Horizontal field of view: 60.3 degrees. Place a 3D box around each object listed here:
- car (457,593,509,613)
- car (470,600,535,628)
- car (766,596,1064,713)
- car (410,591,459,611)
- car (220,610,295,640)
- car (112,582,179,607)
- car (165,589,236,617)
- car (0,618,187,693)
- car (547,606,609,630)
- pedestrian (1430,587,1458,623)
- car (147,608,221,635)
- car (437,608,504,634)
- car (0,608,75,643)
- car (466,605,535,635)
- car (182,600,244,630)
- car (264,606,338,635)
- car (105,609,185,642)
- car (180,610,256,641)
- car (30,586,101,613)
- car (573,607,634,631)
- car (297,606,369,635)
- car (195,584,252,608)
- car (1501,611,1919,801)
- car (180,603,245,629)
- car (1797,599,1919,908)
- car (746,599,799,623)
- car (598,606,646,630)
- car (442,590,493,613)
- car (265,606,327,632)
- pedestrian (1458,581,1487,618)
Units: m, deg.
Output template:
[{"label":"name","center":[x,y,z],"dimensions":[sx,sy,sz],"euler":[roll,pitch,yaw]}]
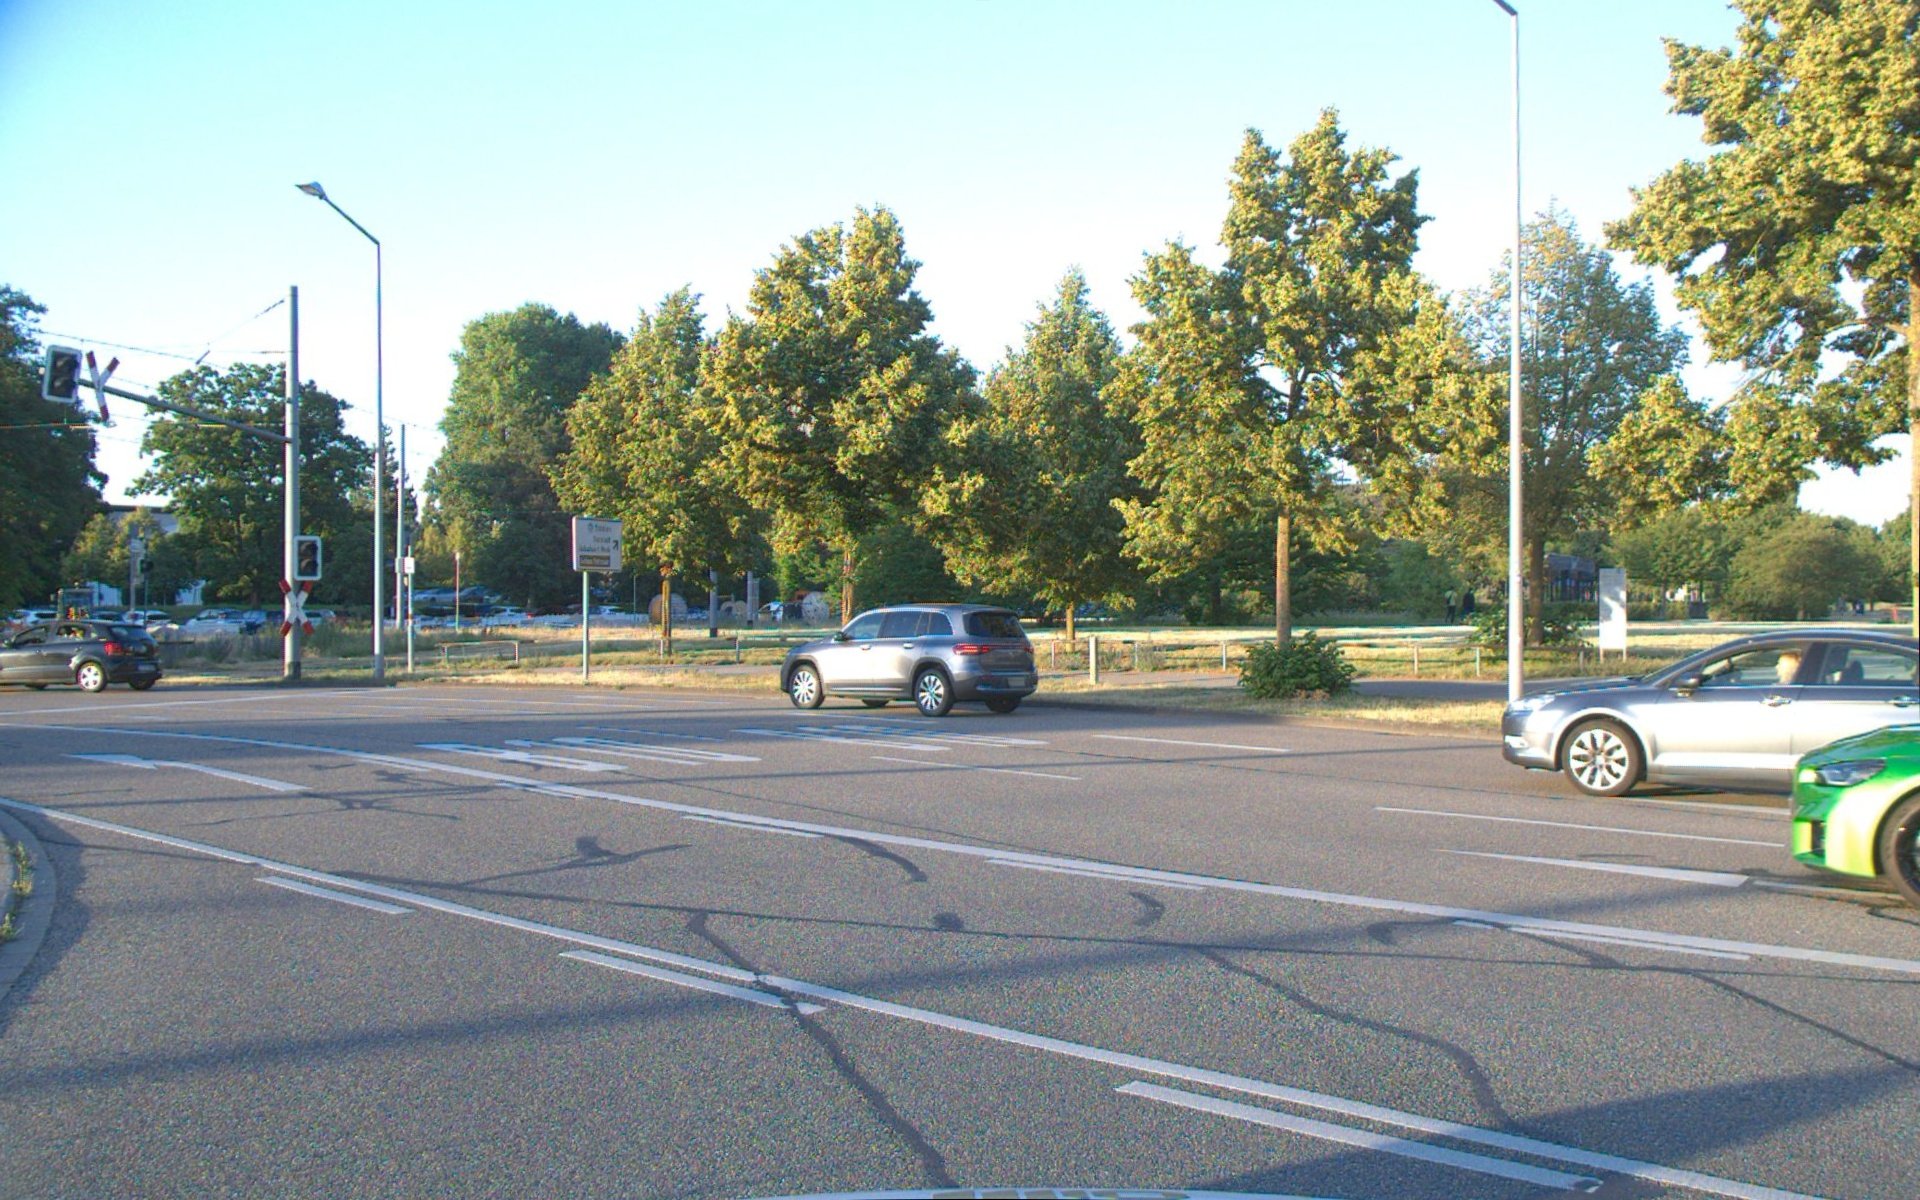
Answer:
[{"label":"car","center":[-41.695,0.283,144.709],"dimensions":[3.902,1.736,2.001],"euler":[0,0,6]},{"label":"car","center":[-34.597,1.072,125.248],"dimensions":[4.499,2.049,1.996],"euler":[0,0,-9]},{"label":"car","center":[-0.751,0.783,25.919],"dimensions":[4.438,1.666,1.991],"euler":[0,0,38]},{"label":"car","center":[-47.958,0.100,151.047],"dimensions":[1.959,1.847,3.987],"euler":[0,0,34]},{"label":"car","center":[-39.089,1.384,92.029],"dimensions":[3.915,1.632,1.995],"euler":[0,0,32]},{"label":"car","center":[-67.123,-0.428,136.321],"dimensions":[1.958,2.049,4.585],"euler":[0,0,33]},{"label":"car","center":[-56.651,0.225,123.473],"dimensions":[1.956,2.049,4.590],"euler":[0,0,29]},{"label":"car","center":[-17.936,1.116,33.390],"dimensions":[3.902,1.377,1.696],"euler":[-1,2,9]},{"label":"car","center":[-26.272,1.225,113.661],"dimensions":[3.915,1.632,1.995],"euler":[0,0,32]},{"label":"pedestrian","center":[22.051,0.233,75.351],"dimensions":[1.047,1.646,0.911],"euler":[0,0,2]},{"label":"car","center":[-50.232,1.357,107.067],"dimensions":[1.863,1.691,3.987],"euler":[0,0,34]},{"label":"car","center":[-30.978,1.312,104.671],"dimensions":[3.915,1.632,1.995],"euler":[0,0,32]},{"label":"car","center":[-45.624,1.227,81.418],"dimensions":[3.915,1.632,1.995],"euler":[0,0,32]},{"label":"car","center":[-32.527,1.429,117.141],"dimensions":[4.499,2.049,1.996],"euler":[0,0,-9]},{"label":"car","center":[-52.269,1.026,115.761],"dimensions":[3.939,2.049,1.983],"euler":[0,0,-27]},{"label":"car","center":[-37.389,1.156,93.855],"dimensions":[3.915,1.632,1.995],"euler":[0,0,32]},{"label":"car","center":[-42.255,1.303,85.771],"dimensions":[3.915,1.632,1.995],"euler":[0,0,32]},{"label":"car","center":[-40.531,1.352,90.361],"dimensions":[3.915,1.632,1.995],"euler":[0,0,32]},{"label":"car","center":[-70.538,-0.039,130.446],"dimensions":[1.956,2.049,4.590],"euler":[0,0,29]},{"label":"car","center":[-24.904,1.311,115.411],"dimensions":[3.915,1.632,1.995],"euler":[0,0,32]},{"label":"car","center":[-36.445,1.181,96.073],"dimensions":[3.915,1.632,1.995],"euler":[0,0,32]},{"label":"car","center":[-63.381,-0.340,142.342],"dimensions":[1.958,2.049,4.105],"euler":[0,0,33]},{"label":"car","center":[7.265,0.842,14.341],"dimensions":[4.575,1.490,1.880],"euler":[0,-1,35]},{"label":"car","center":[-50.563,1.096,111.854],"dimensions":[3.939,1.691,1.983],"euler":[0,0,-27]},{"label":"car","center":[6.914,0.799,8.677],"dimensions":[4.388,1.606,1.996],"euler":[0,0,31]},{"label":"car","center":[-13.005,0.750,114.661],"dimensions":[1.724,1.646,3.940],"euler":[0,0,-41]},{"label":"car","center":[-26.368,1.381,128.866],"dimensions":[1.979,1.782,4.538],"euler":[0,1,-37]},{"label":"car","center":[-44.096,0.097,148.220],"dimensions":[1.963,2.049,3.979],"euler":[0,0,40]},{"label":"car","center":[-45.819,1.308,114.096],"dimensions":[3.933,1.691,1.889],"euler":[0,0,-23]},{"label":"pedestrian","center":[22.965,-0.005,74.120],"dimensions":[1.047,1.646,0.911],"euler":[0,0,2]}]
